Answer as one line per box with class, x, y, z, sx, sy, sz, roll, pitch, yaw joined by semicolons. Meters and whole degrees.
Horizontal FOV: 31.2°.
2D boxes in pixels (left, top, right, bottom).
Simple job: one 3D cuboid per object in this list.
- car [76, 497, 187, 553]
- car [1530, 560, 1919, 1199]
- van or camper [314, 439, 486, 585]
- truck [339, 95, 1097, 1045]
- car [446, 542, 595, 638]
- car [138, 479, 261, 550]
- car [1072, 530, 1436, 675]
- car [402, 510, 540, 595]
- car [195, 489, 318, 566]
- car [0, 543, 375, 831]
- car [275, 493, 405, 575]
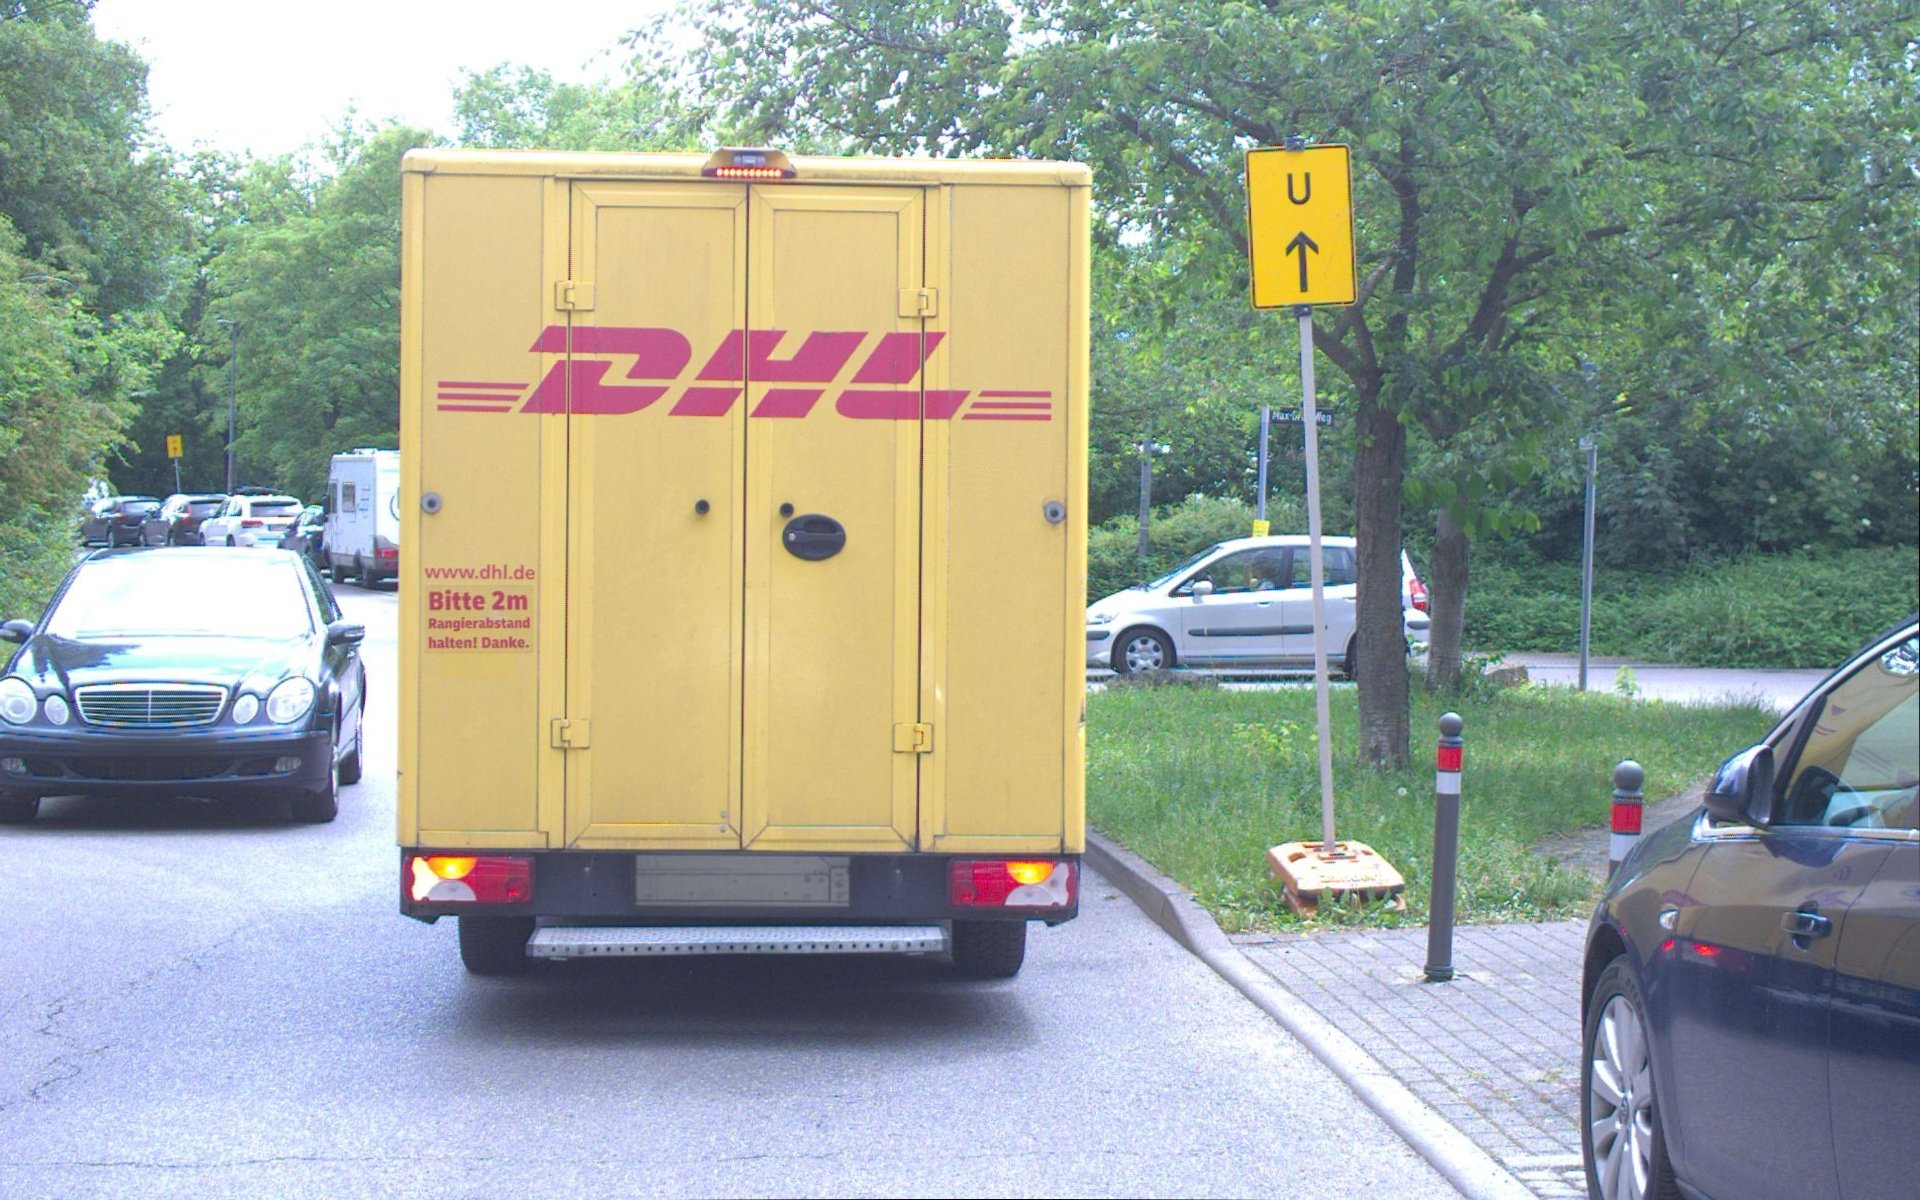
car;-22.885;-2.085;94.887;1.798;1.459;4.000;-1;3;-32
car;2.208;0.663;5.633;1.690;1.415;4.001;0;1;-3
van or camper;-11.697;-1.854;71.440;2.332;2.859;6.152;1;2;-21
truck;-0.859;-0.145;13.462;2.225;2.799;6.572;0;1;-3
car;-7.331;-0.204;57.027;1.775;1.429;4.335;-1;2;-16
car;-19.683;-2.232;88.843;1.993;1.620;4.279;-3;5;-27
car;3.072;0.014;36.435;3.640;1.451;1.847;1;0;-1
car;-9.162;-0.891;64.250;1.728;1.514;3.890;-1;1;-21
car;-17.088;-1.775;83.340;1.871;1.683;4.580;1;2;-25
car;-4.282;0.400;19.367;1.751;1.414;4.369;0;1;-7
car;-13.950;-1.506;77.176;1.711;1.585;4.001;-8;5;-25
